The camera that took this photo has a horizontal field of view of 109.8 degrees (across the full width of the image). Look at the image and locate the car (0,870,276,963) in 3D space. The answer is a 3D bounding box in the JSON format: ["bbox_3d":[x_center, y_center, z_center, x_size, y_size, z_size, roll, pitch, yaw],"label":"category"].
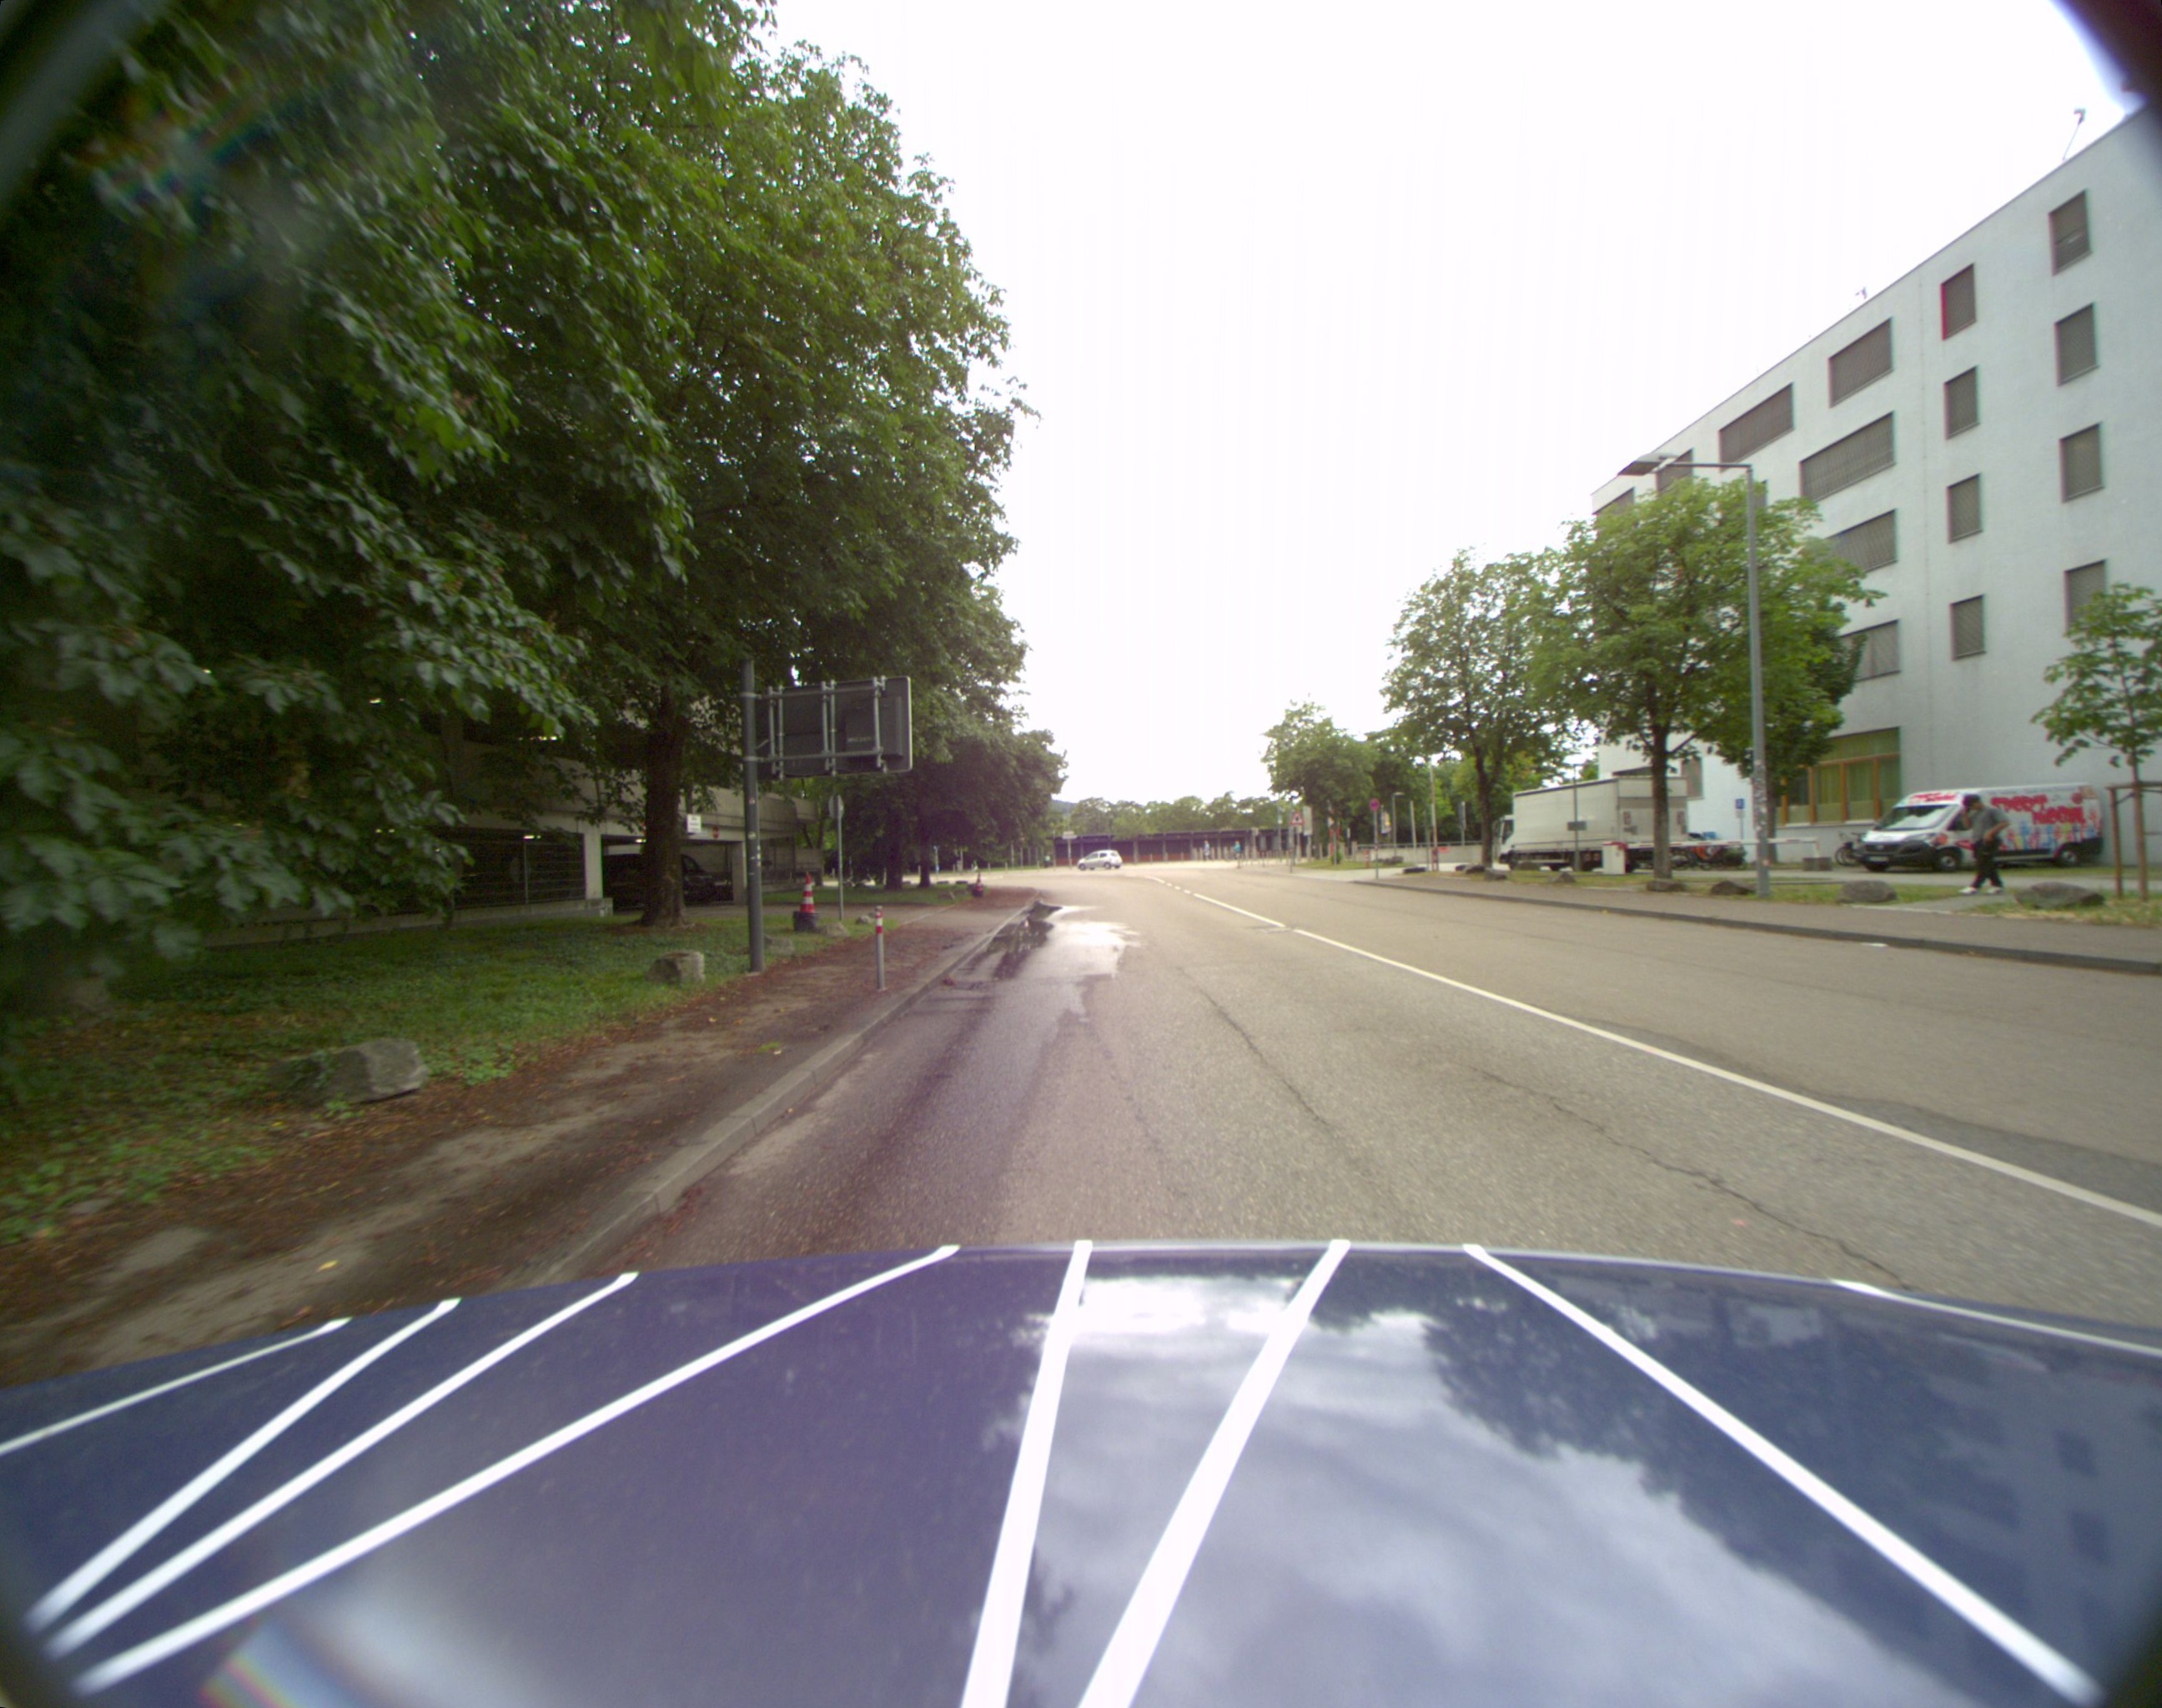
[{"bbox_3d":[-20.341,1.256,16.489,1.721,1.577,3.690,-3,1,-1],"label":"car"}]

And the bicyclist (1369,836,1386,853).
[{"bbox_3d":[26.932,-0.880,68.982,1.101,1.487,0.926,-3,3,-10],"label":"bicyclist"}]

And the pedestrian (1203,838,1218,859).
[{"bbox_3d":[11.648,-0.488,68.344,1.199,1.824,0.928,-2,3,13],"label":"pedestrian"}]

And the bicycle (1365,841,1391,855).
[{"bbox_3d":[26.952,-0.579,68.992,2.051,1.137,0.777,-3,2,-10],"label":"bicycle"}]

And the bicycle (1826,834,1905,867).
[{"bbox_3d":[27.529,-0.132,26.688,2.029,1.064,0.614,-3,2,3],"label":"bicycle"}]

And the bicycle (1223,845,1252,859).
[{"bbox_3d":[13.497,-0.172,65.506,2.257,1.117,0.748,-3,2,-3],"label":"bicycle"}]

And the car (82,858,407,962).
[{"bbox_3d":[-17.321,1.028,16.190,1.589,1.699,4.667,-3,1,1],"label":"car"}]

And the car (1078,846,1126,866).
[{"bbox_3d":[1.647,0.153,60.789,3.493,1.448,1.610,-2,2,36],"label":"car"}]

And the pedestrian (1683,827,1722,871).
[{"bbox_3d":[23.420,-0.207,28.662,0.679,1.597,0.887,-3,2,-7],"label":"pedestrian"}]

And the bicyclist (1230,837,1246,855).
[{"bbox_3d":[13.536,-0.683,65.490,1.159,1.422,0.743,-3,2,-3],"label":"bicyclist"}]

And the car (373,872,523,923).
[{"bbox_3d":[-22.786,1.515,27.589,1.876,1.445,4.000,-3,1,4],"label":"car"}]

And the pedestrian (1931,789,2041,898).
[{"bbox_3d":[14.603,-0.169,12.283,0.845,1.662,0.786,-3,2,-5],"label":"pedestrian"}]

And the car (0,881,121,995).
[{"bbox_3d":[-17.601,1.396,11.304,1.589,1.699,3.856,-3,1,1],"label":"car"}]

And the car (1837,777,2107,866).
[{"bbox_3d":[26.507,-0.941,22.753,5.640,2.266,2.078,-3,2,0],"label":"car"}]

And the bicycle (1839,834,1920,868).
[{"bbox_3d":[27.351,-0.108,26.040,2.029,1.064,0.614,-3,2,3],"label":"bicycle"}]

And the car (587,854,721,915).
[{"bbox_3d":[-14.750,0.966,26.618,1.924,1.824,4.735,-3,0,0],"label":"car"}]

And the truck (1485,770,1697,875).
[{"bbox_3d":[20.298,-1.186,31.079,2.684,3.580,8.361,-3,1,-2],"label":"truck"}]
